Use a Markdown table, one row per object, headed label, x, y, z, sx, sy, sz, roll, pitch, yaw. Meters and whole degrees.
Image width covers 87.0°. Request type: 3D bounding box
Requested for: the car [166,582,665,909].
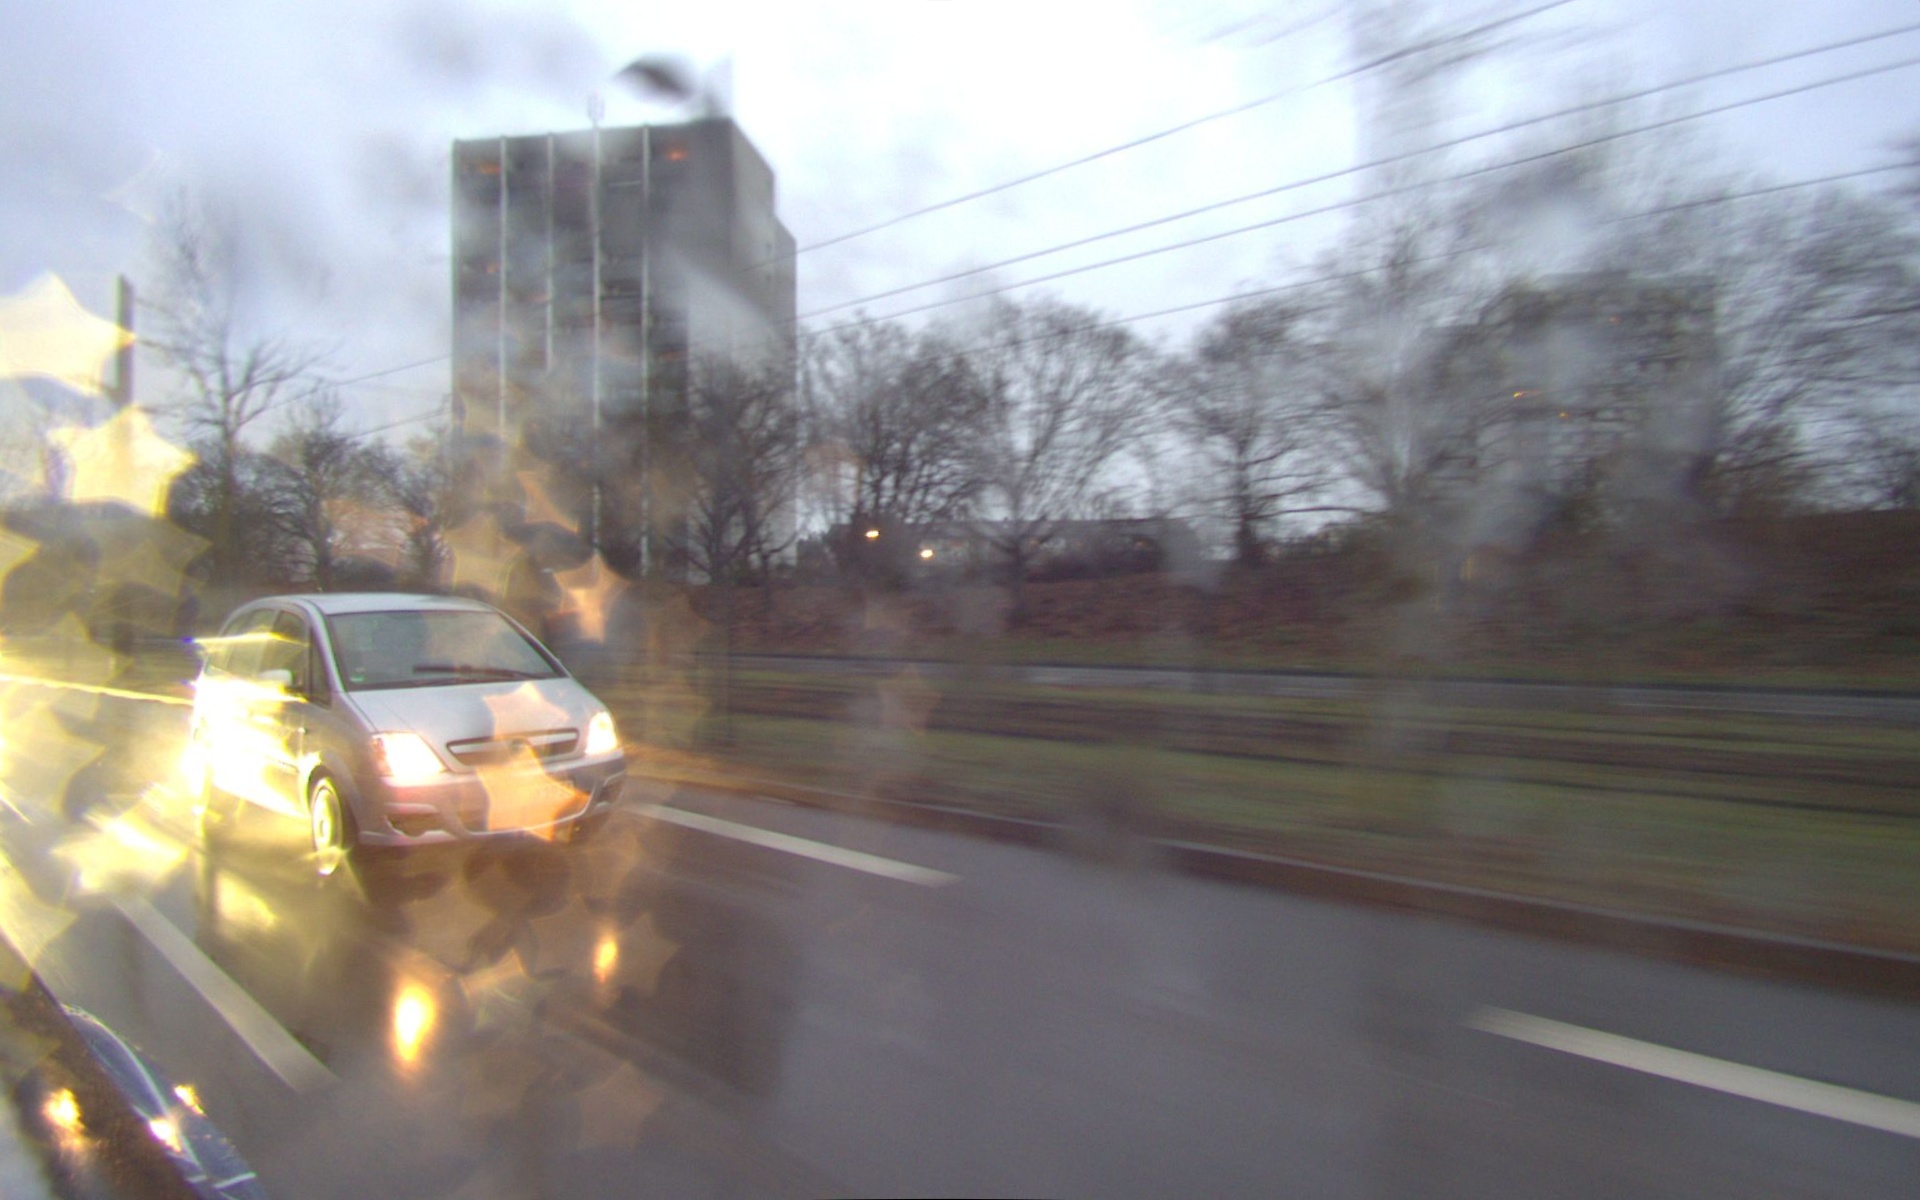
| label | x | y | z | sx | sy | sz | roll | pitch | yaw |
| --- | --- | --- | --- | --- | --- | --- | --- | --- | --- |
| car | -3.828 | 0.727 | 6.821 | 3.919 | 1.587 | 1.648 | -1 | 0 | 40 |
